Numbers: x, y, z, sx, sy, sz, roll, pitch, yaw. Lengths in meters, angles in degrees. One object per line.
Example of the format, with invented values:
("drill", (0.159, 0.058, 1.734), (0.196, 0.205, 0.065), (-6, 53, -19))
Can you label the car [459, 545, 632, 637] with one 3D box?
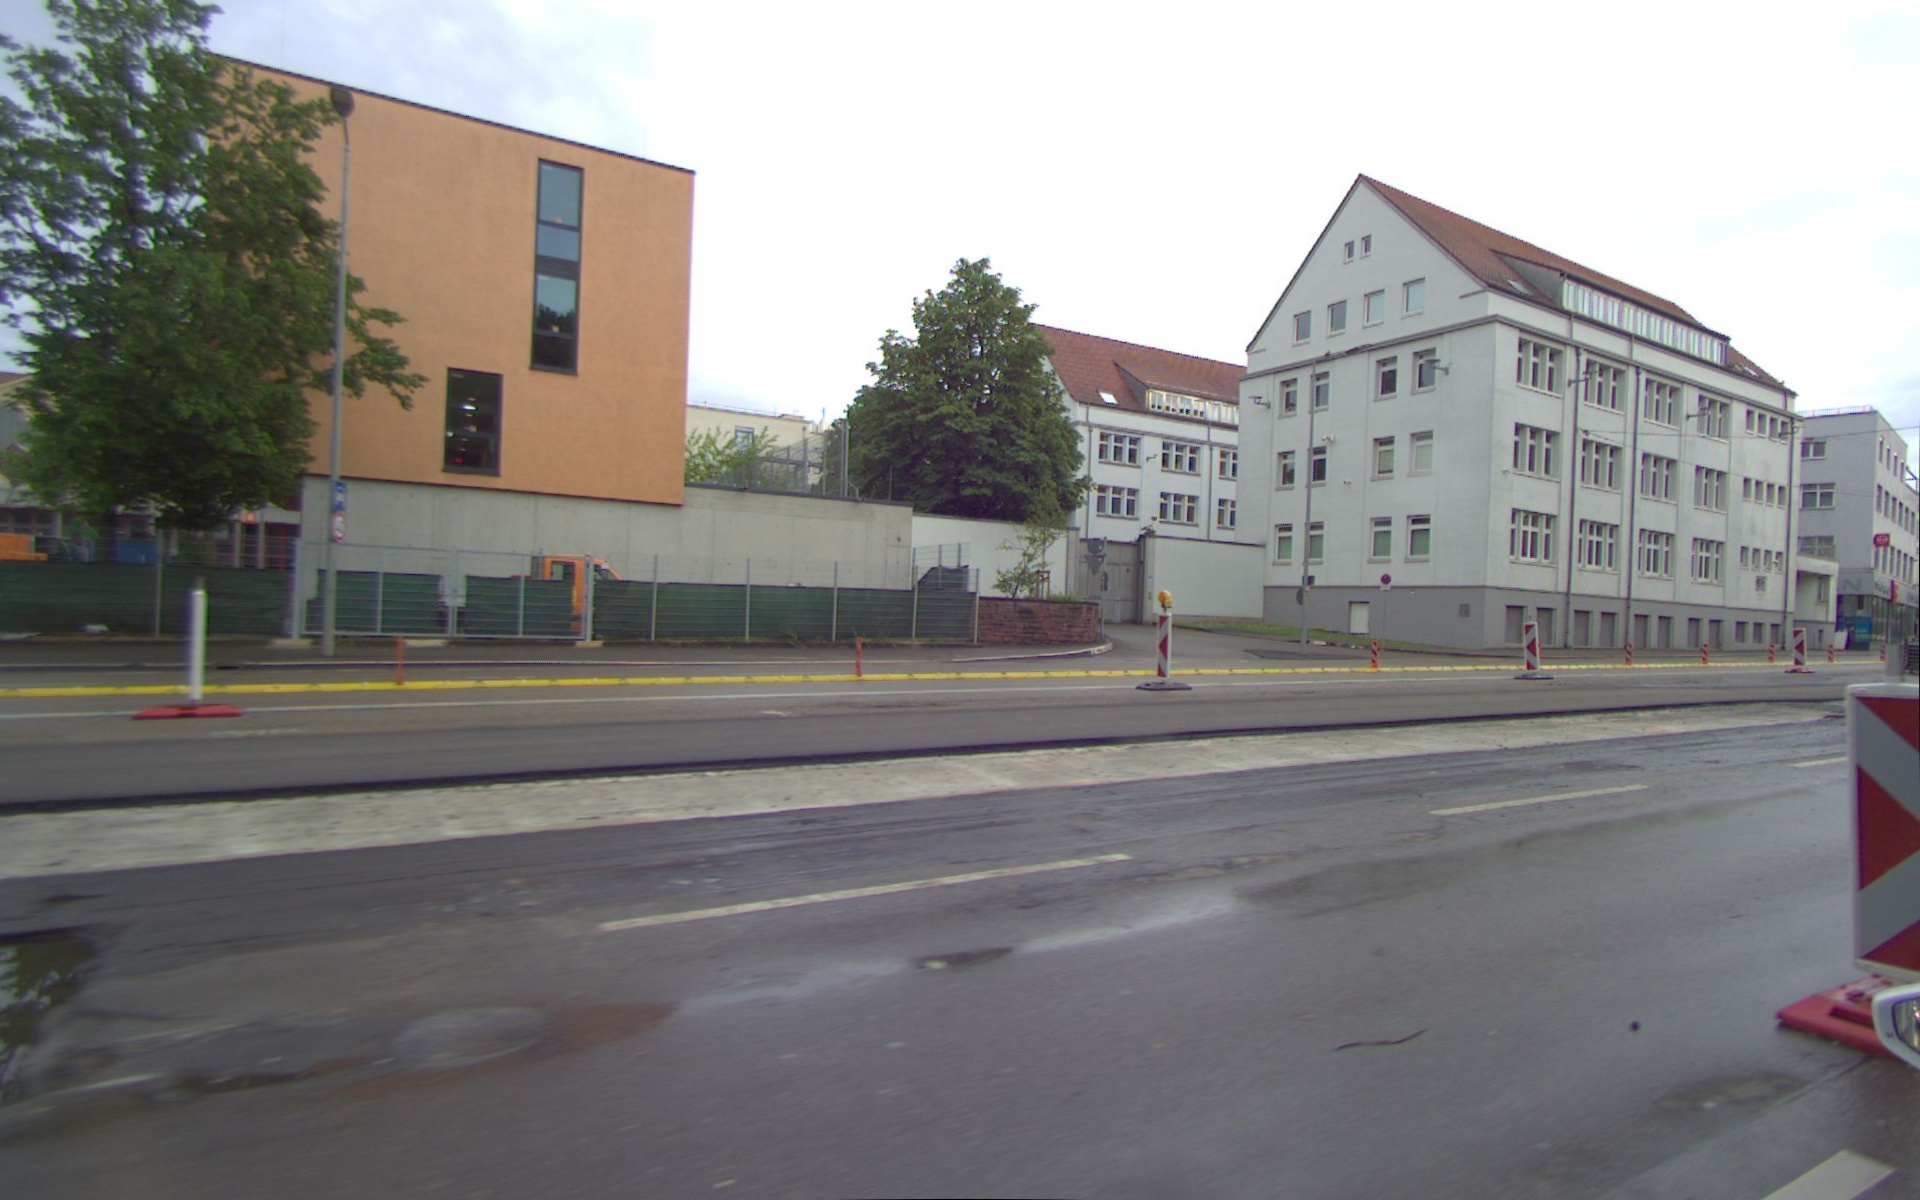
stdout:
("car", (-10.761, -0.195, 26.151), (3.954, 2.199, 1.602), (2, 0, -31))
